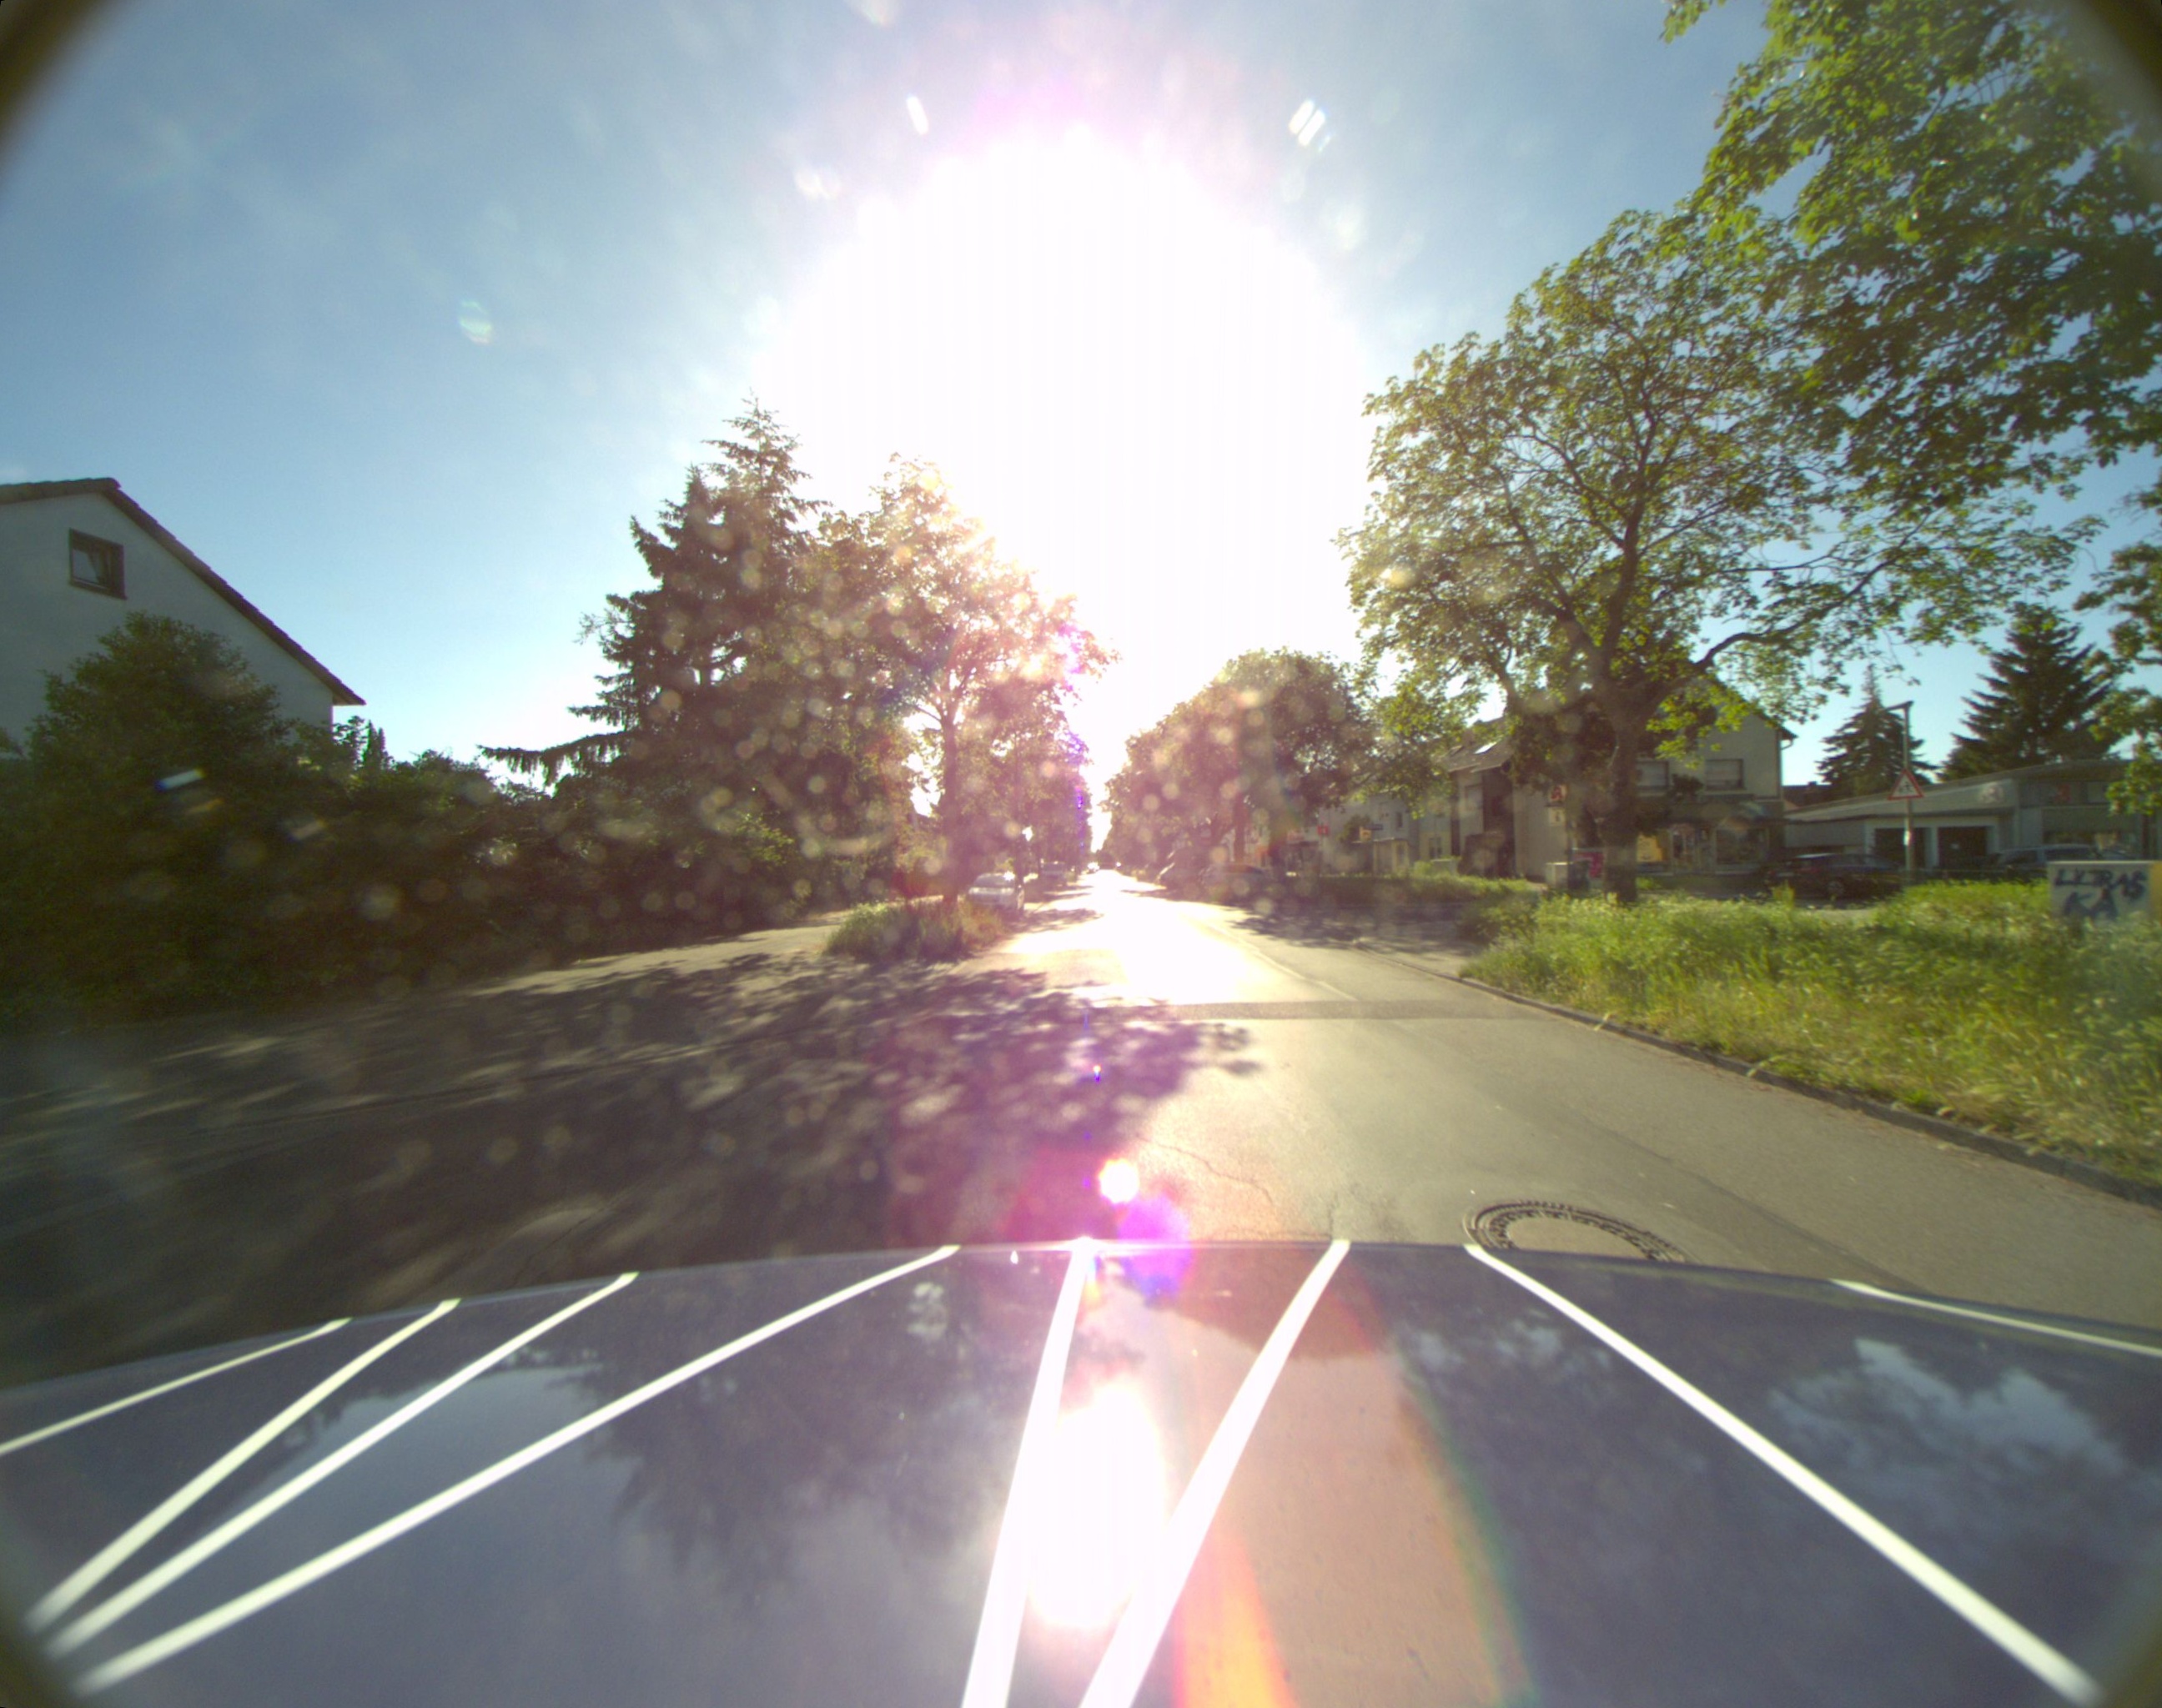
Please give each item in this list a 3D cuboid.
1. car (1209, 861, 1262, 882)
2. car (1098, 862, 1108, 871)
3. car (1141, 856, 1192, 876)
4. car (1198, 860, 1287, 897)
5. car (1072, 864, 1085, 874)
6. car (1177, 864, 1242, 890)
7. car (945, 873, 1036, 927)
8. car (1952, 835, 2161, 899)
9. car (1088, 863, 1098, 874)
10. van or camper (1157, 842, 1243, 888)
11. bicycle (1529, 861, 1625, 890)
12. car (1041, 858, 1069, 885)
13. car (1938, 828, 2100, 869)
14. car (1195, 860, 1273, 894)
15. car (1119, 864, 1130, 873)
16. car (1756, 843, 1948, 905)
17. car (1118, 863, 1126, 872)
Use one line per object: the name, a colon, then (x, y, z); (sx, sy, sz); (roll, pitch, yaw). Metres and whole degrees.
car: (12.999, 1.485, 63.990); (3.998, 1.533, 1.869); (-3, 0, -4)
car: (4.268, 2.334, 146.900); (1.539, 1.582, 3.459); (-5, 0, 3)
car: (9.172, 1.314, 81.677); (5.075, 1.718, 2.000); (-5, 0, -3)
car: (8.015, 1.220, 38.050); (3.997, 1.651, 1.967); (-2, -1, 0)
car: (-0.444, 2.754, 136.644); (1.941, 1.684, 4.364); (-2, -1, 3)
car: (8.739, 1.559, 51.901); (3.997, 1.450, 2.000); (-5, 0, -1)
car: (-2.875, 1.471, 25.137); (1.997, 1.501, 4.002); (-1, 0, 8)
car: (30.714, 0.416, 24.020); (3.997, 1.809, 2.000); (-2, 0, 1)
car: (1.996, 2.371, 125.772); (1.539, 1.582, 3.459); (-5, 0, 3)
van or camper: (8.528, 0.751, 54.778); (5.789, 2.788, 2.000); (-5, 0, 3)
bicycle: (21.543, 0.950, 33.196); (0.706, 1.169, 4.052); (-1, -1, -15)
car: (-2.086, 1.428, 63.311); (1.999, 2.002, 5.196); (-5, 0, 0)
car: (37.687, -0.182, 30.689); (1.803, 1.510, 3.759); (-2, -1, -2)
car: (8.830, 1.313, 44.059); (3.997, 1.579, 2.000); (-5, 0, 0)
car: (8.718, 2.963, 152.394); (1.998, 1.530, 3.696); (-5, 0, 3)
car: (23.760, 0.593, 23.530); (3.997, 1.704, 1.822); (-2, 0, 1)
car: (8.844, 2.914, 163.746); (1.815, 1.722, 4.057); (-2, -1, 3)
